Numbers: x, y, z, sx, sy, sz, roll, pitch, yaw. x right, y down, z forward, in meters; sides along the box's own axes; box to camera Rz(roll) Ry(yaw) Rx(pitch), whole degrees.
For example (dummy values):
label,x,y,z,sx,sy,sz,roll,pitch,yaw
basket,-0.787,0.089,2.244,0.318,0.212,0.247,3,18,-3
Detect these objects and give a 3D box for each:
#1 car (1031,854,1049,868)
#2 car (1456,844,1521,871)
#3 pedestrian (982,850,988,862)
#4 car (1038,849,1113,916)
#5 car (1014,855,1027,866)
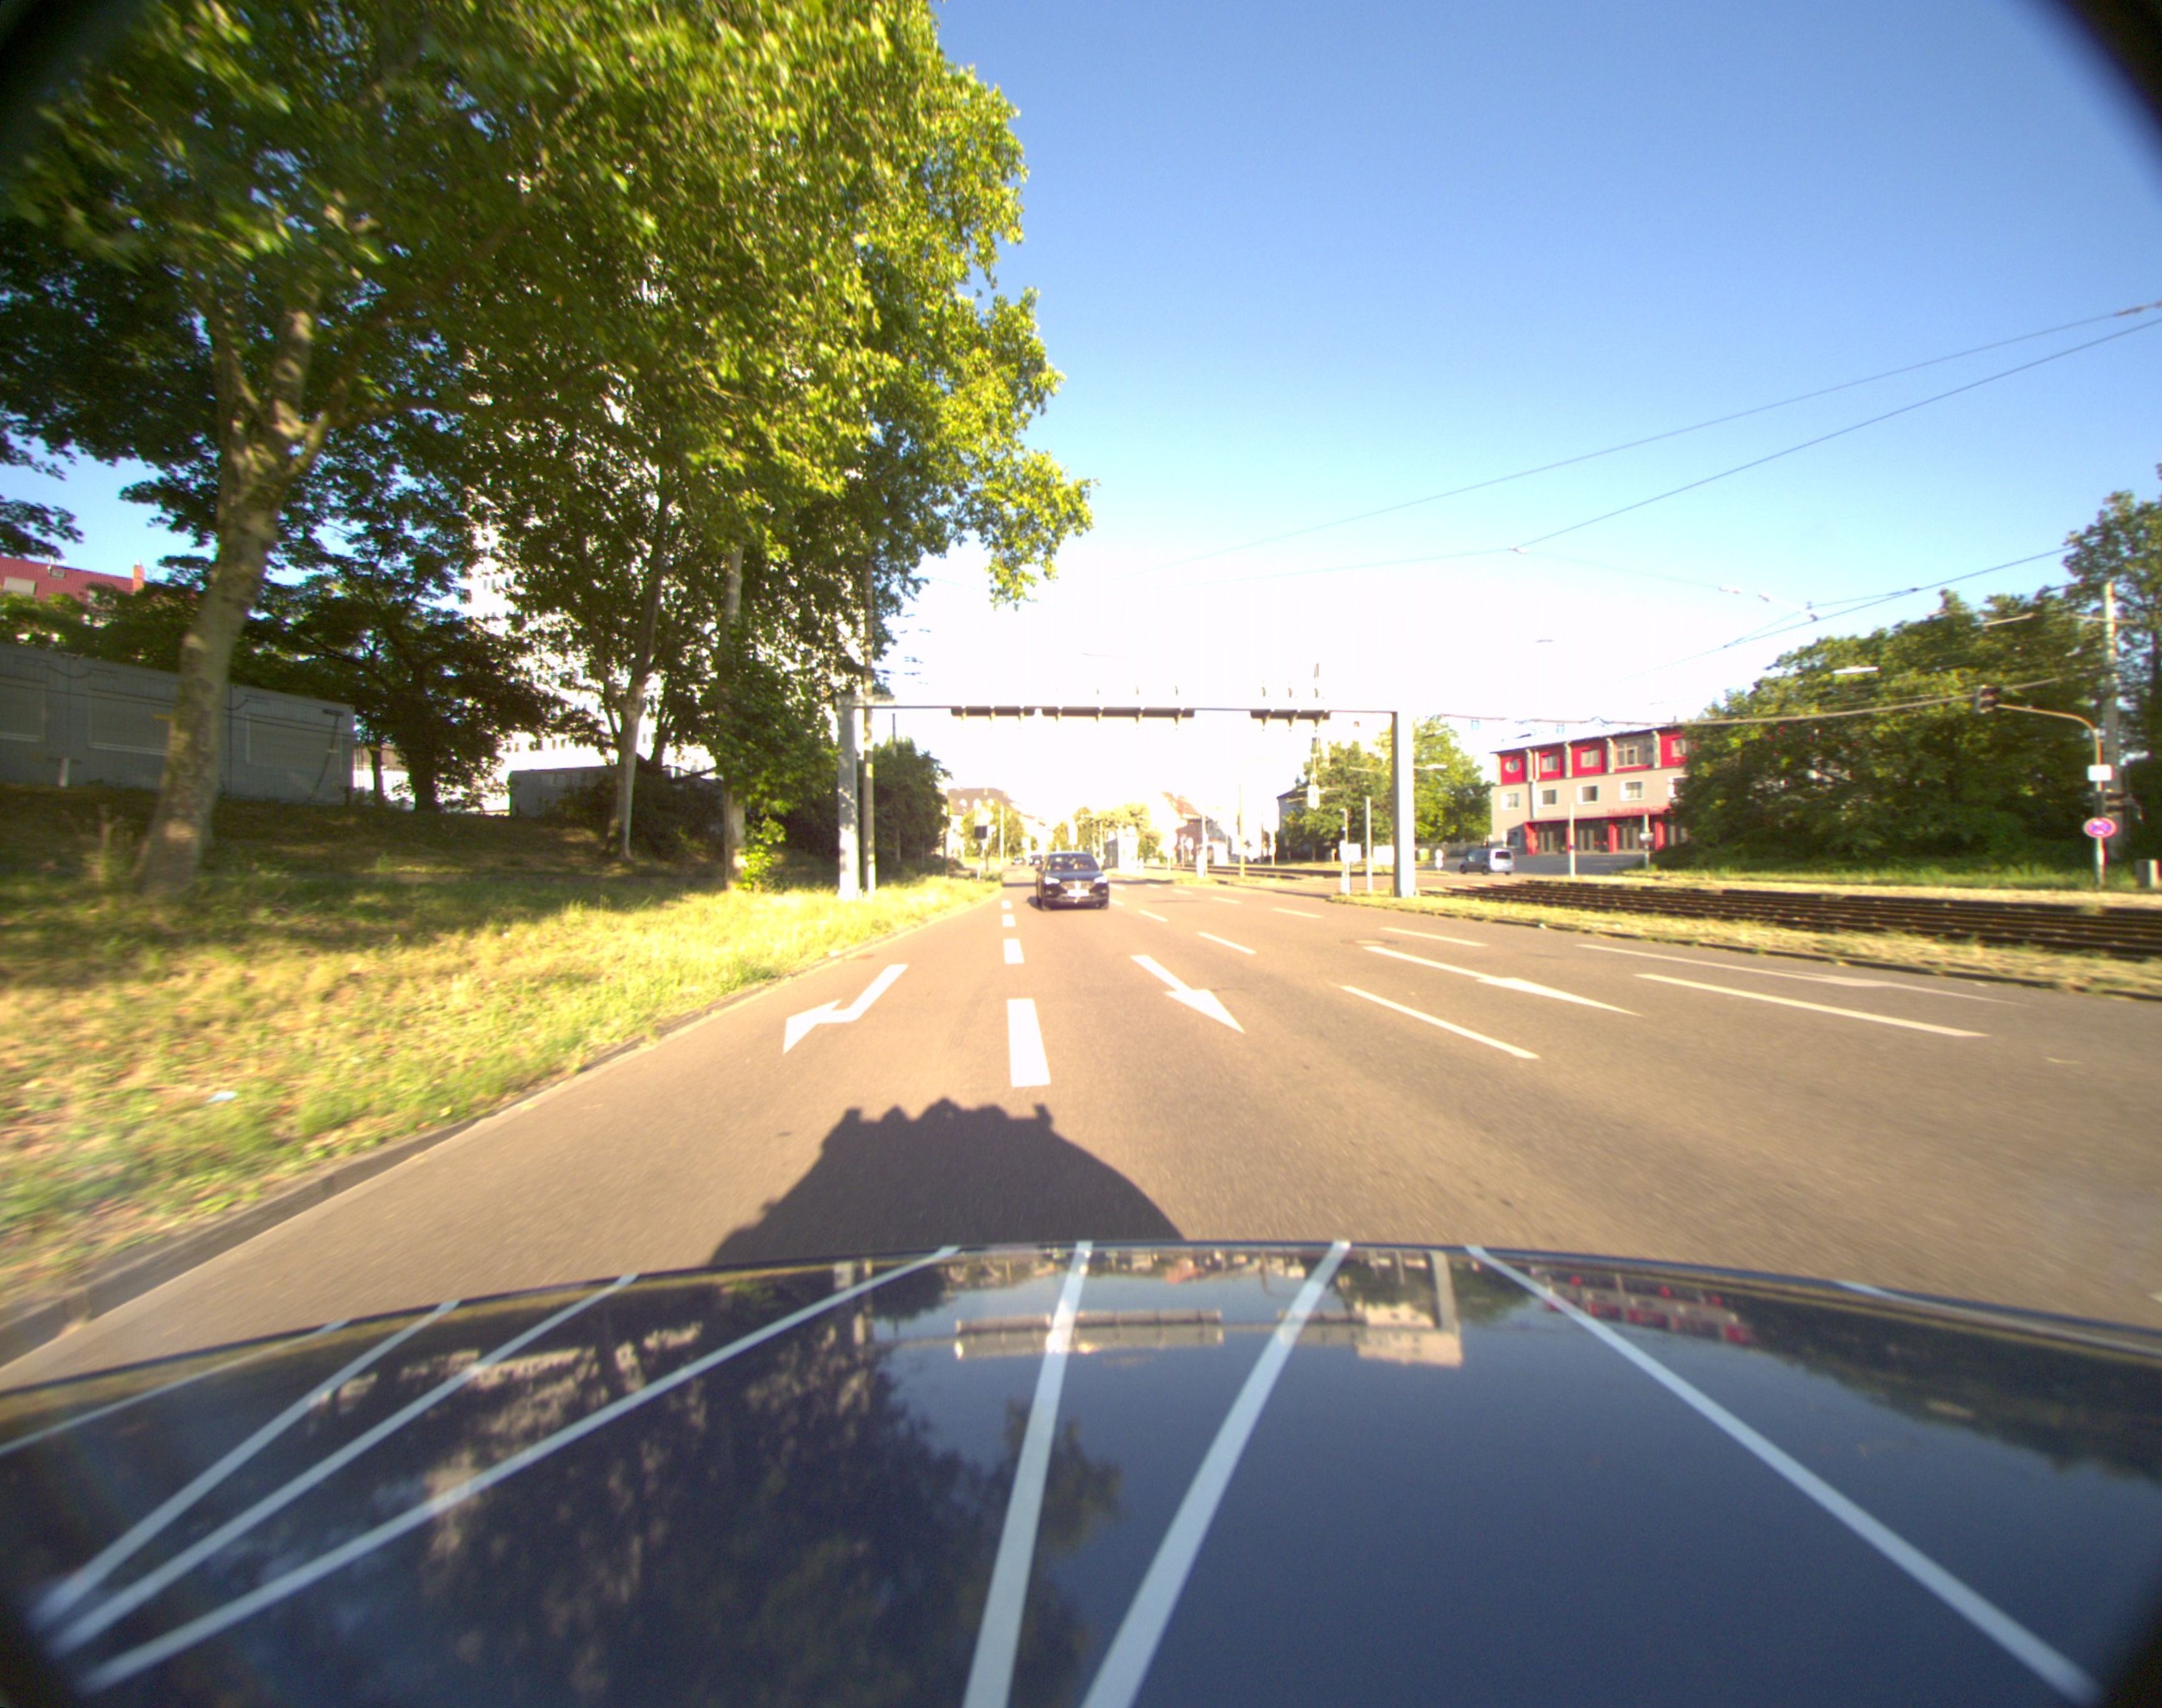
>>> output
label,x,y,z,sx,sy,sz,roll,pitch,yaw
car,-5.243,0.890,97.297,1.907,1.652,4.273,-1,0,-9
car,27.731,0.261,51.903,1.939,1.777,4.258,-1,-1,-4
pedestrian,-13.173,0.239,104.599,0.592,1.586,0.547,0,1,30
car,-0.270,0.722,22.104,1.819,1.670,4.621,-1,1,-5
car,-9.000,0.956,112.443,1.742,1.429,3.998,-1,0,-7
